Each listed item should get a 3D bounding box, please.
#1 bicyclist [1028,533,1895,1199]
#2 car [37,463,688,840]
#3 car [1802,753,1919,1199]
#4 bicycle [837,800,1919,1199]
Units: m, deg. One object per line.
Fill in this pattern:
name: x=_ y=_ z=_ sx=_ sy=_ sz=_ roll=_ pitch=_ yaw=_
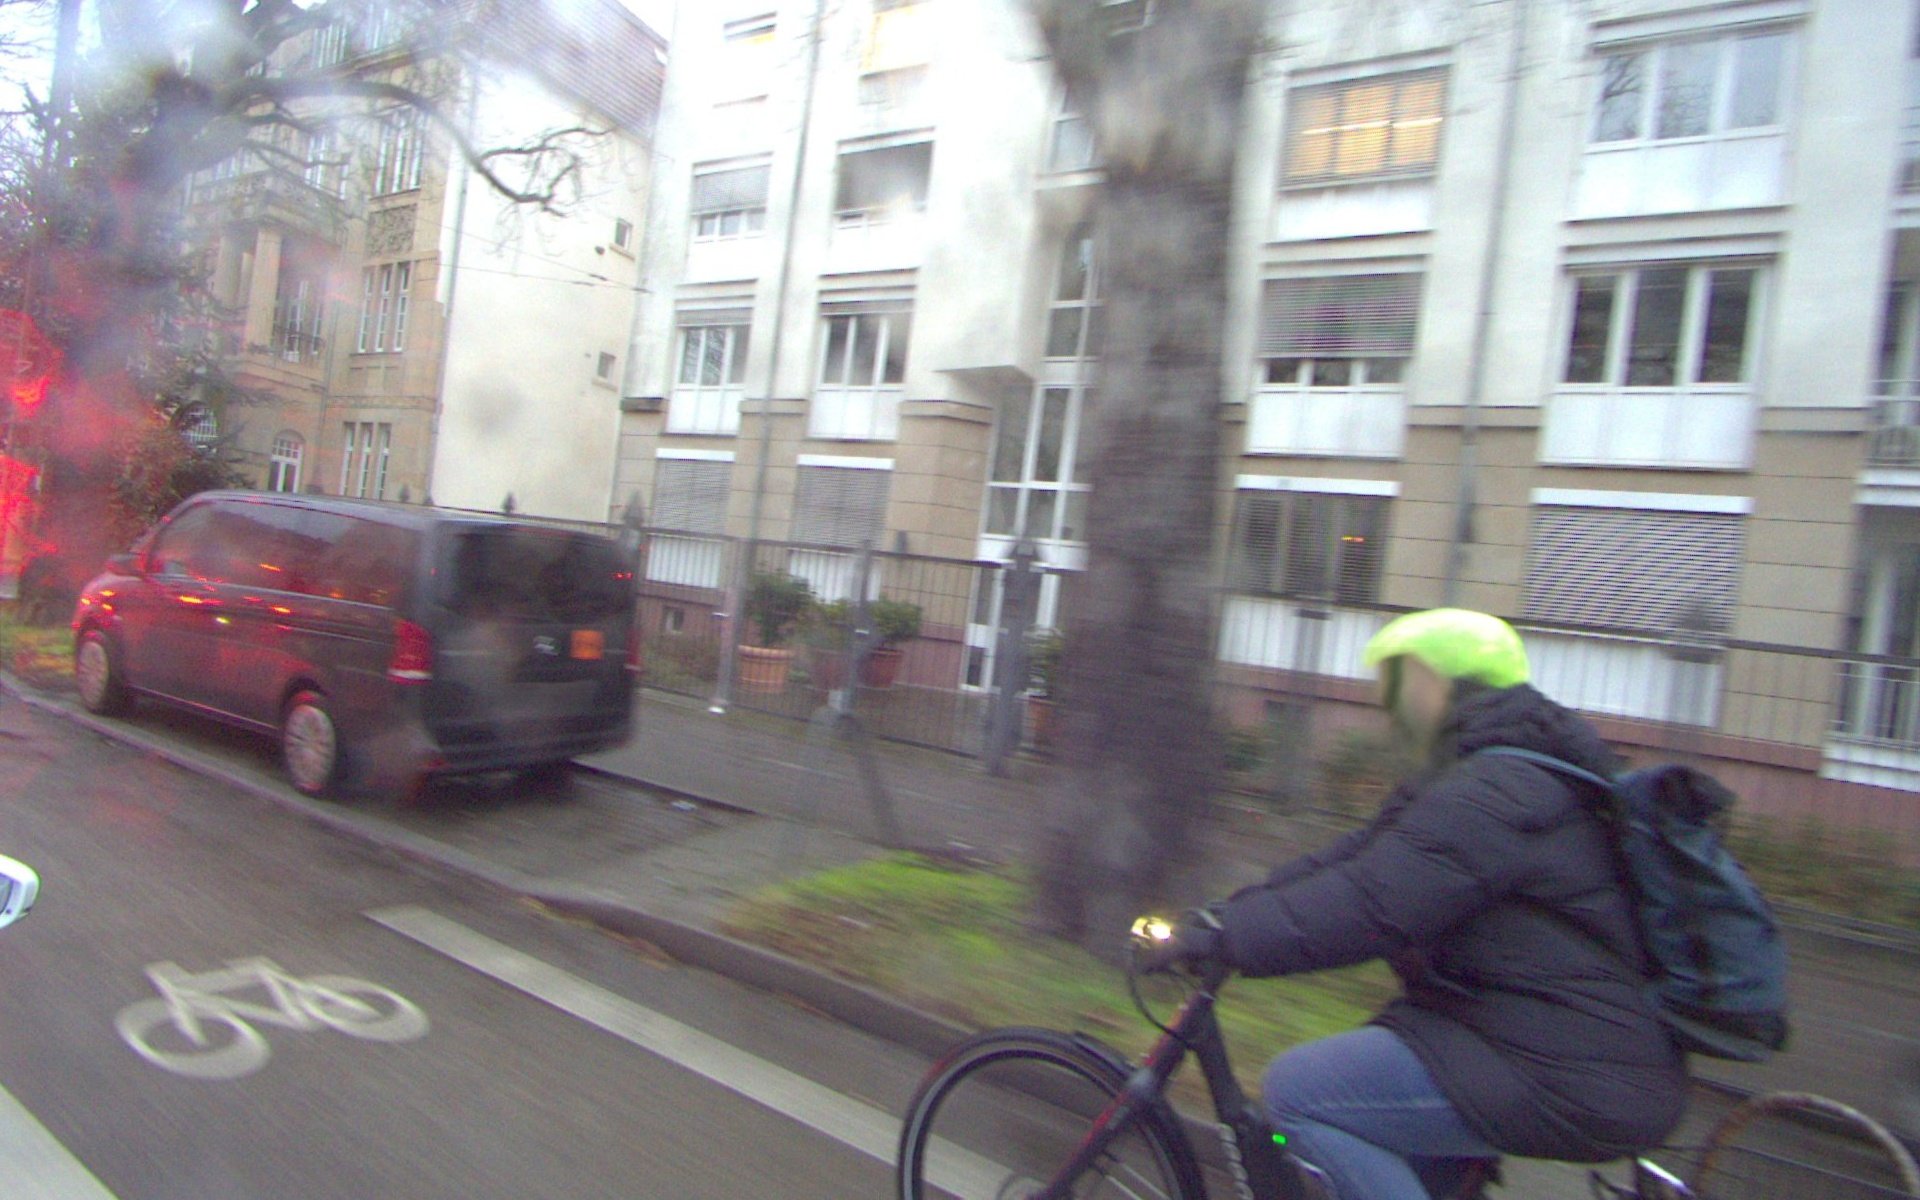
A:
bicyclist: x=0.777 y=0.814 z=1.831 sx=1.038 sy=1.681 sz=0.719 roll=8 pitch=-2 yaw=26
car: x=-4.665 y=0.192 z=7.644 sx=4.880 sy=1.899 sz=2.034 roll=7 pitch=0 yaw=31
car: x=4.682 y=1.505 z=2.084 sx=4.086 sy=1.464 sz=1.760 roll=8 pitch=1 yaw=29
bicycle: x=0.787 y=1.140 z=1.799 sx=1.907 sy=1.125 sz=0.719 roll=8 pitch=-2 yaw=27
